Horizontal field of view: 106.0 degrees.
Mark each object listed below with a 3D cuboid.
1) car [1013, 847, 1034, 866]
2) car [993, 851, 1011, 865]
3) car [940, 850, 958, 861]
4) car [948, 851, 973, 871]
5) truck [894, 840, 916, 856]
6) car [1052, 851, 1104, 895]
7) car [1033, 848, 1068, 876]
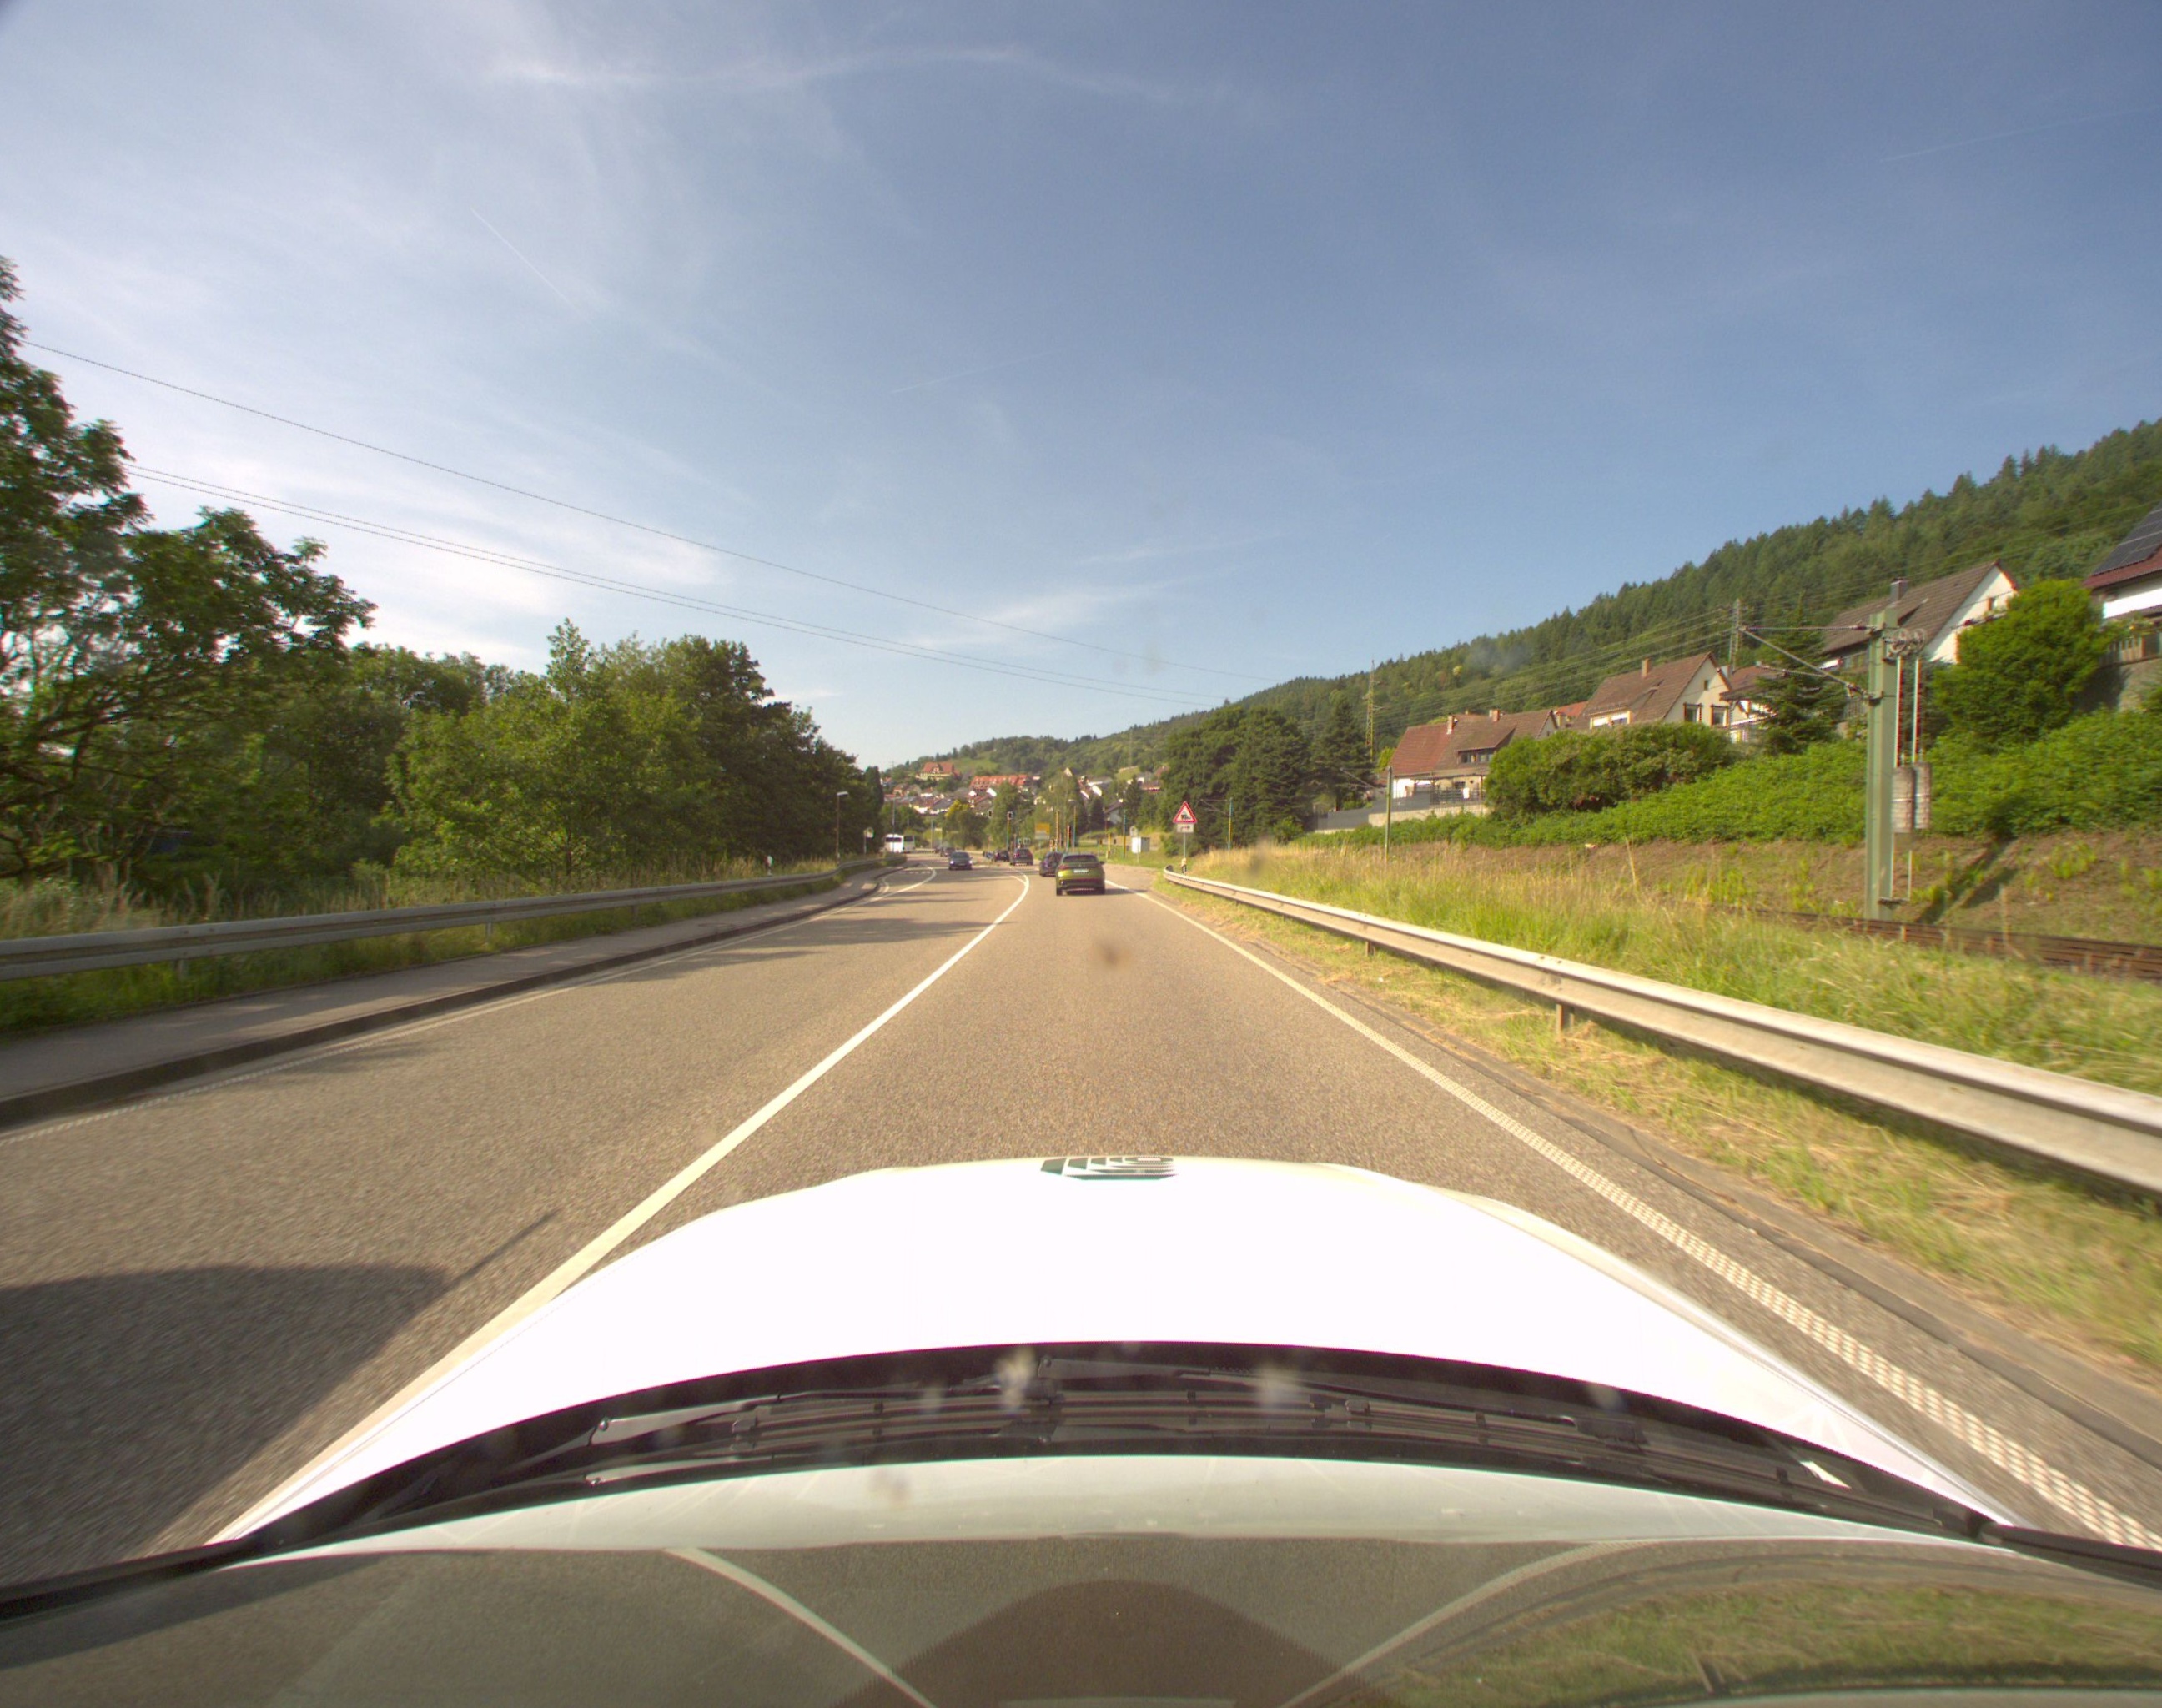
[{"bbox_3d":[-5.410,0.212,76.093,1.877,1.686,3.994,-1,0,-5],"label":"car"},{"bbox_3d":[-9.235,0.473,94.981,1.848,1.527,3.651,-2,0,-8],"label":"car"},{"bbox_3d":[-21.664,0.237,133.301,2.071,1.811,3.971,-1,0,-21],"label":"car"},{"bbox_3d":[-9.740,0.534,65.894,1.889,1.488,3.990,-2,0,-8],"label":"car"},{"bbox_3d":[-34.929,-1.113,161.547,2.726,3.084,6.055,0,0,-27],"label":"truck"},{"bbox_3d":[-0.121,0.631,29.537,1.709,1.455,3.998,-1,0,-1],"label":"car"},{"bbox_3d":[-1.782,0.425,46.724,1.665,1.559,3.991,-1,0,-7],"label":"car"}]
